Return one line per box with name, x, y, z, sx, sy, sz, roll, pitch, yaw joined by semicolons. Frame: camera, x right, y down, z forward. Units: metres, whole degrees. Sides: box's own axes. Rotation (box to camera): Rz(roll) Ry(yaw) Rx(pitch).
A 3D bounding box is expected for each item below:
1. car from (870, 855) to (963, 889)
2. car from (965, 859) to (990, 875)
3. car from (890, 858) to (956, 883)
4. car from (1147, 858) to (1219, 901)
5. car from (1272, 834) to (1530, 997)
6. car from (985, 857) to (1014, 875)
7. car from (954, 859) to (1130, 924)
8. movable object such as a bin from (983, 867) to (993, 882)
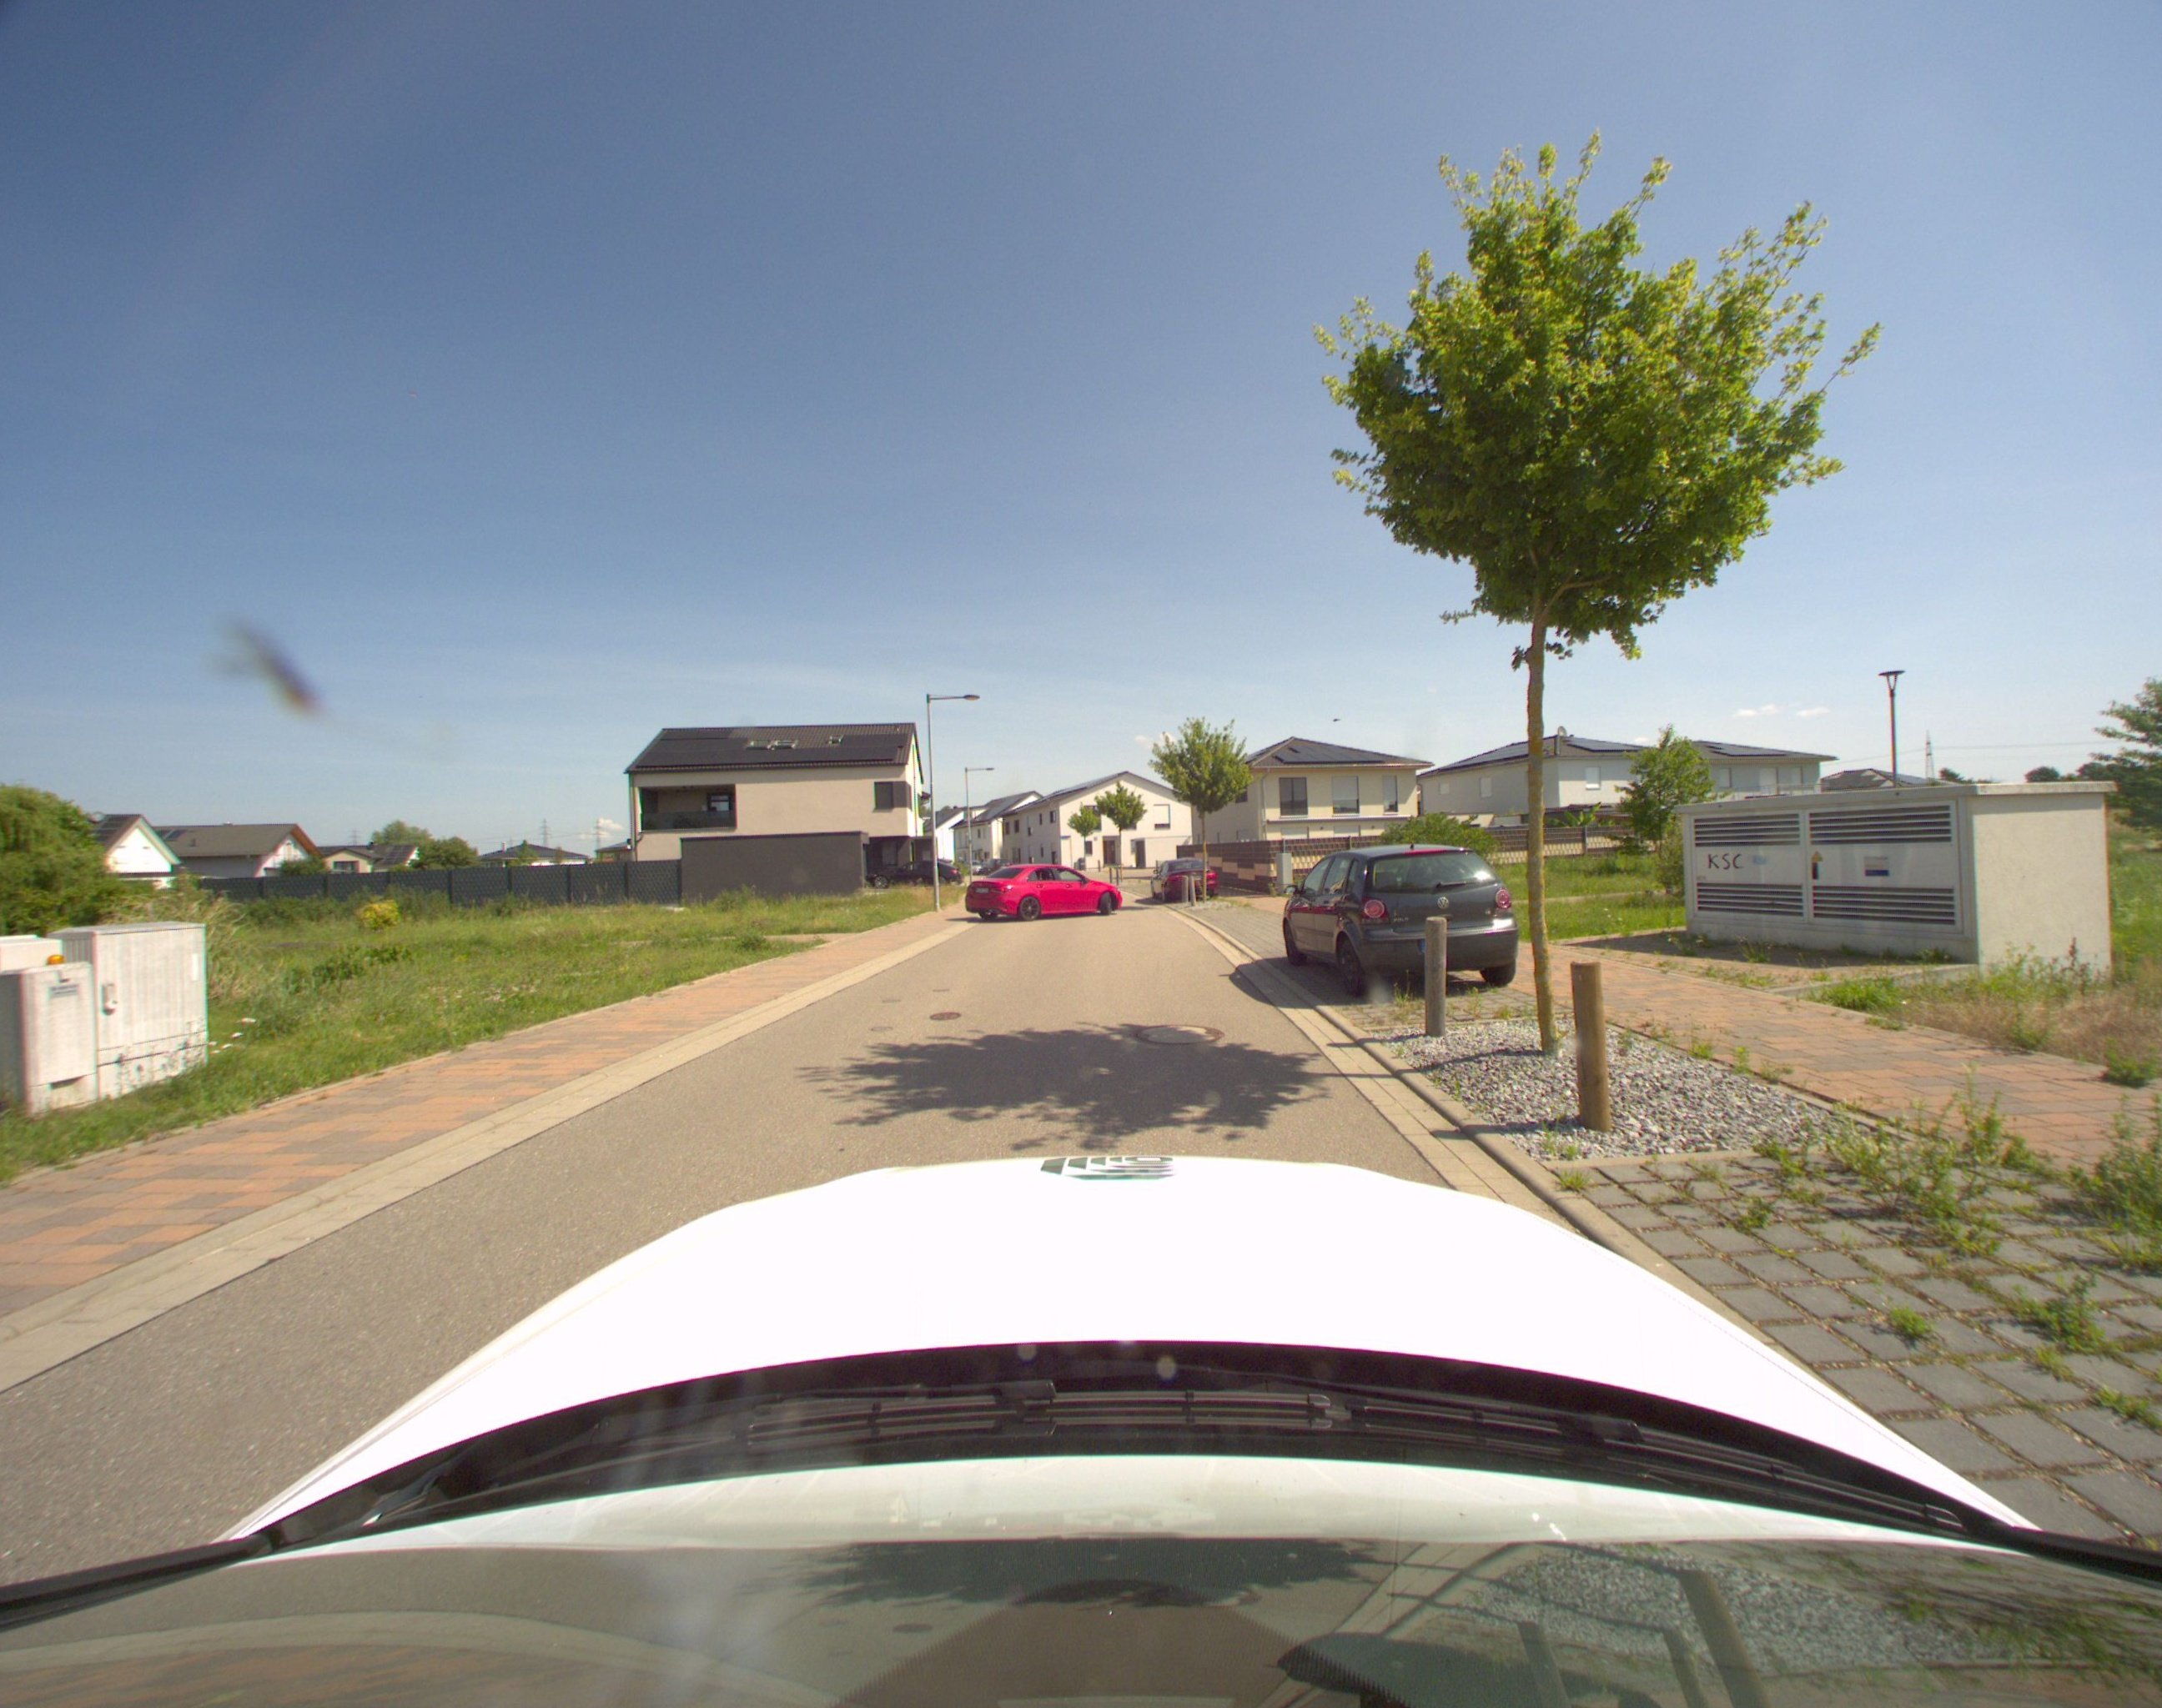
car;-8.152;0.892;40.696;4.370;1.631;1.767;0;-1;-6
car;-10.227;1.252;80.276;1.683;1.464;3.918;-3;0;-20
car;-10.341;1.052;53.482;3.979;1.486;1.752;-2;0;-4
car;3.463;0.826;28.442;1.750;1.363;4.571;-1;0;-3
car;3.393;0.574;9.375;1.592;1.475;3.676;-1;0;1
car;-7.131;1.038;70.834;1.731;1.423;3.976;-3;0;-17
car;-0.933;0.905;21.382;4.544;1.438;1.747;-1;0;-42
movable object such as a bin;-5.807;1.260;51.047;0.532;0.936;0.526;-1;0;3
